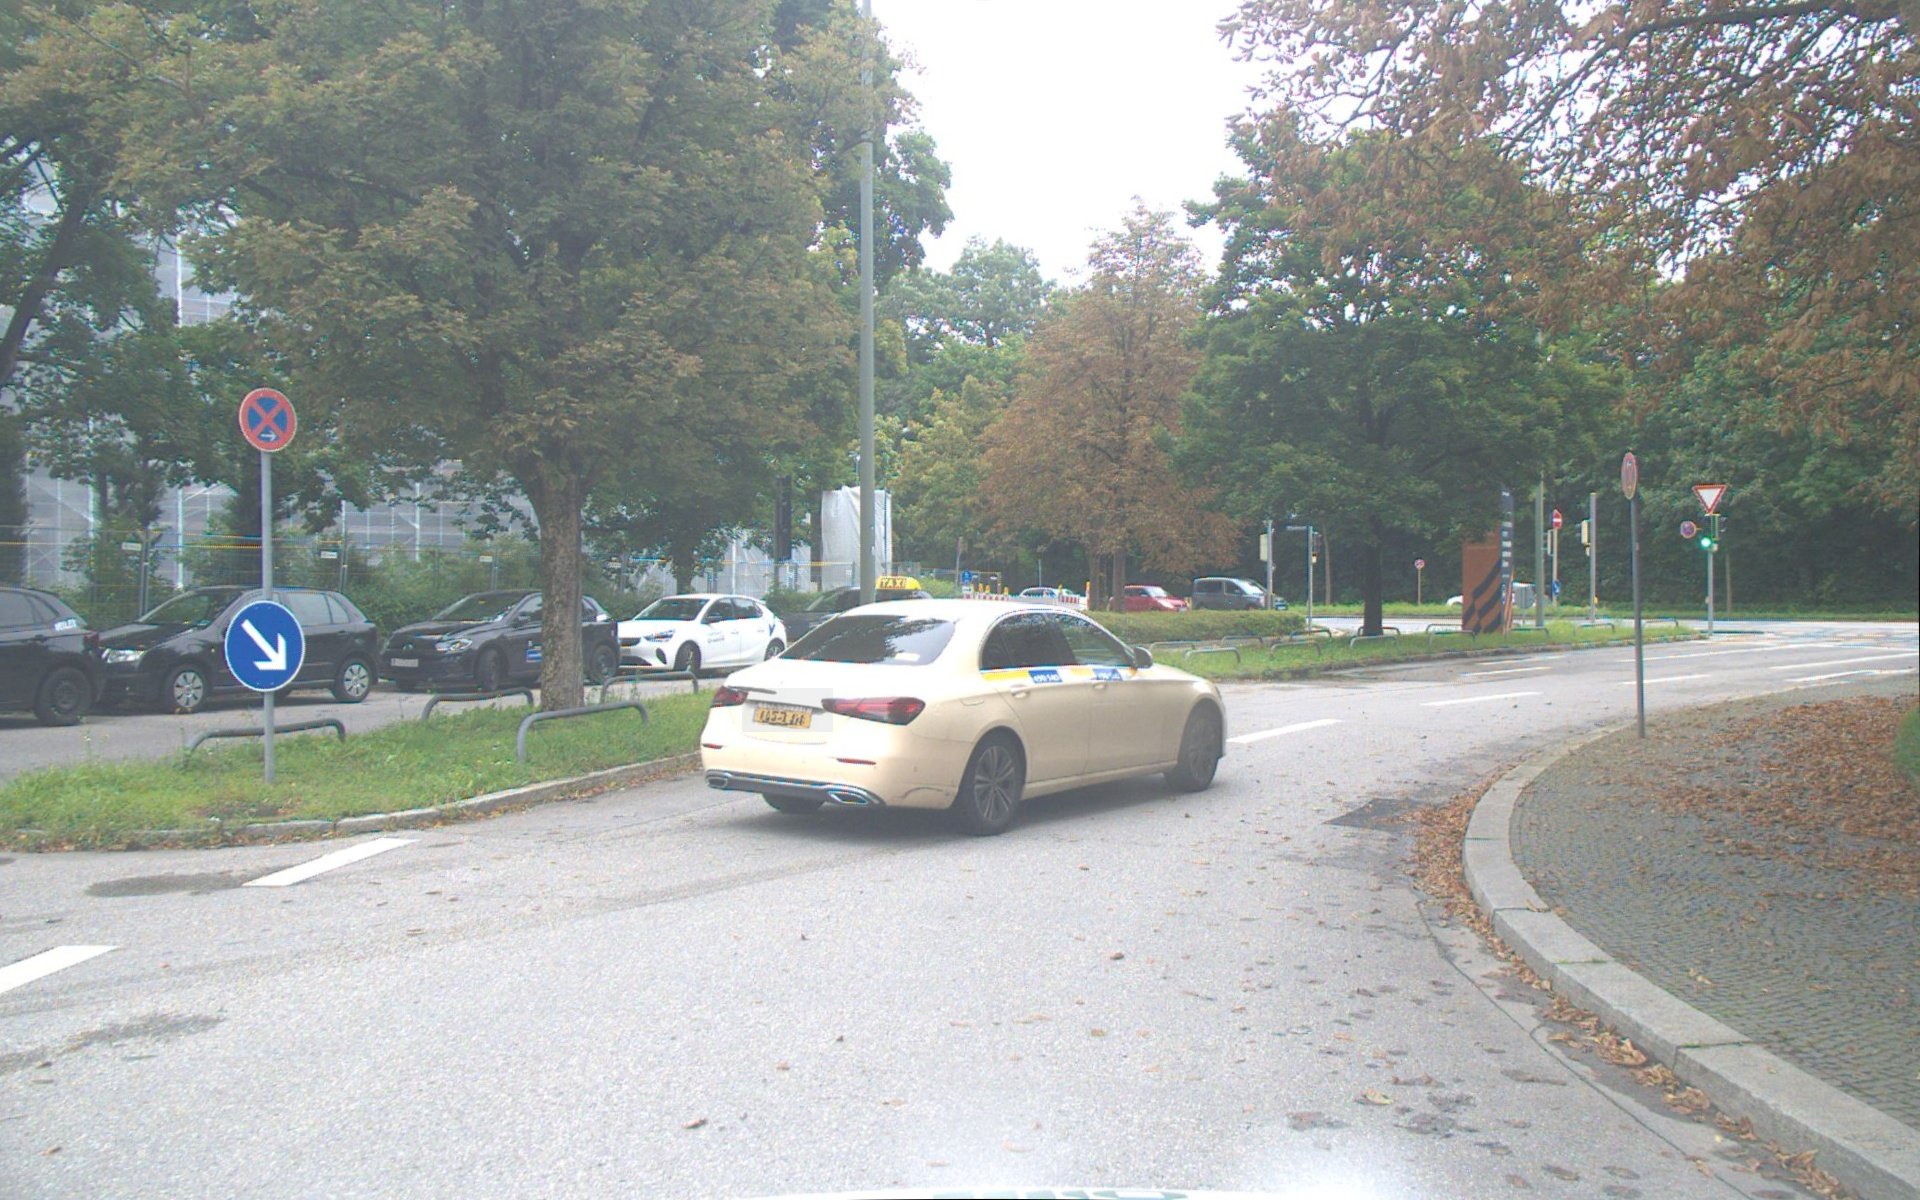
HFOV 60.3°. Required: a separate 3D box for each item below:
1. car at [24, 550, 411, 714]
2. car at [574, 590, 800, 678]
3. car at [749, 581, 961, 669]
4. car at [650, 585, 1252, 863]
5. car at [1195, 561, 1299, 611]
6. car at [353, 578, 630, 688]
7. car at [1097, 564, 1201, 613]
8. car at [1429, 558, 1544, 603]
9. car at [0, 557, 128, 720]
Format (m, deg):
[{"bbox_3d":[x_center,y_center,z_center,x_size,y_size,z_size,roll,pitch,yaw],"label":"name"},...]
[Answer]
[{"bbox_3d":[-8.888,0.337,20.171,1.954,1.735,3.998,2,1,24],"label":"car"},{"bbox_3d":[-4.662,0.554,28.844,1.761,1.408,4.213,0,0,27],"label":"car"},{"bbox_3d":[-2.003,0.525,32.806,1.854,1.634,4.380,-1,-2,35],"label":"car"},{"bbox_3d":[0.193,0.690,11.892,1.856,1.572,4.835,0,0,36],"label":"car"},{"bbox_3d":[12.145,-0.599,70.169,3.932,2.049,1.986,0,0,44],"label":"car"},{"bbox_3d":[-6.831,0.452,24.530,1.798,1.486,4.003,0,0,24],"label":"car"},{"bbox_3d":[8.026,-0.490,70.434,4.087,2.049,1.986,0,0,44],"label":"car"},{"bbox_3d":[21.363,-0.792,67.232,1.982,1.780,4.063,0,0,-41],"label":"car"},{"bbox_3d":[-10.386,0.349,15.819,1.954,1.568,3.998,1,1,24],"label":"car"}]
